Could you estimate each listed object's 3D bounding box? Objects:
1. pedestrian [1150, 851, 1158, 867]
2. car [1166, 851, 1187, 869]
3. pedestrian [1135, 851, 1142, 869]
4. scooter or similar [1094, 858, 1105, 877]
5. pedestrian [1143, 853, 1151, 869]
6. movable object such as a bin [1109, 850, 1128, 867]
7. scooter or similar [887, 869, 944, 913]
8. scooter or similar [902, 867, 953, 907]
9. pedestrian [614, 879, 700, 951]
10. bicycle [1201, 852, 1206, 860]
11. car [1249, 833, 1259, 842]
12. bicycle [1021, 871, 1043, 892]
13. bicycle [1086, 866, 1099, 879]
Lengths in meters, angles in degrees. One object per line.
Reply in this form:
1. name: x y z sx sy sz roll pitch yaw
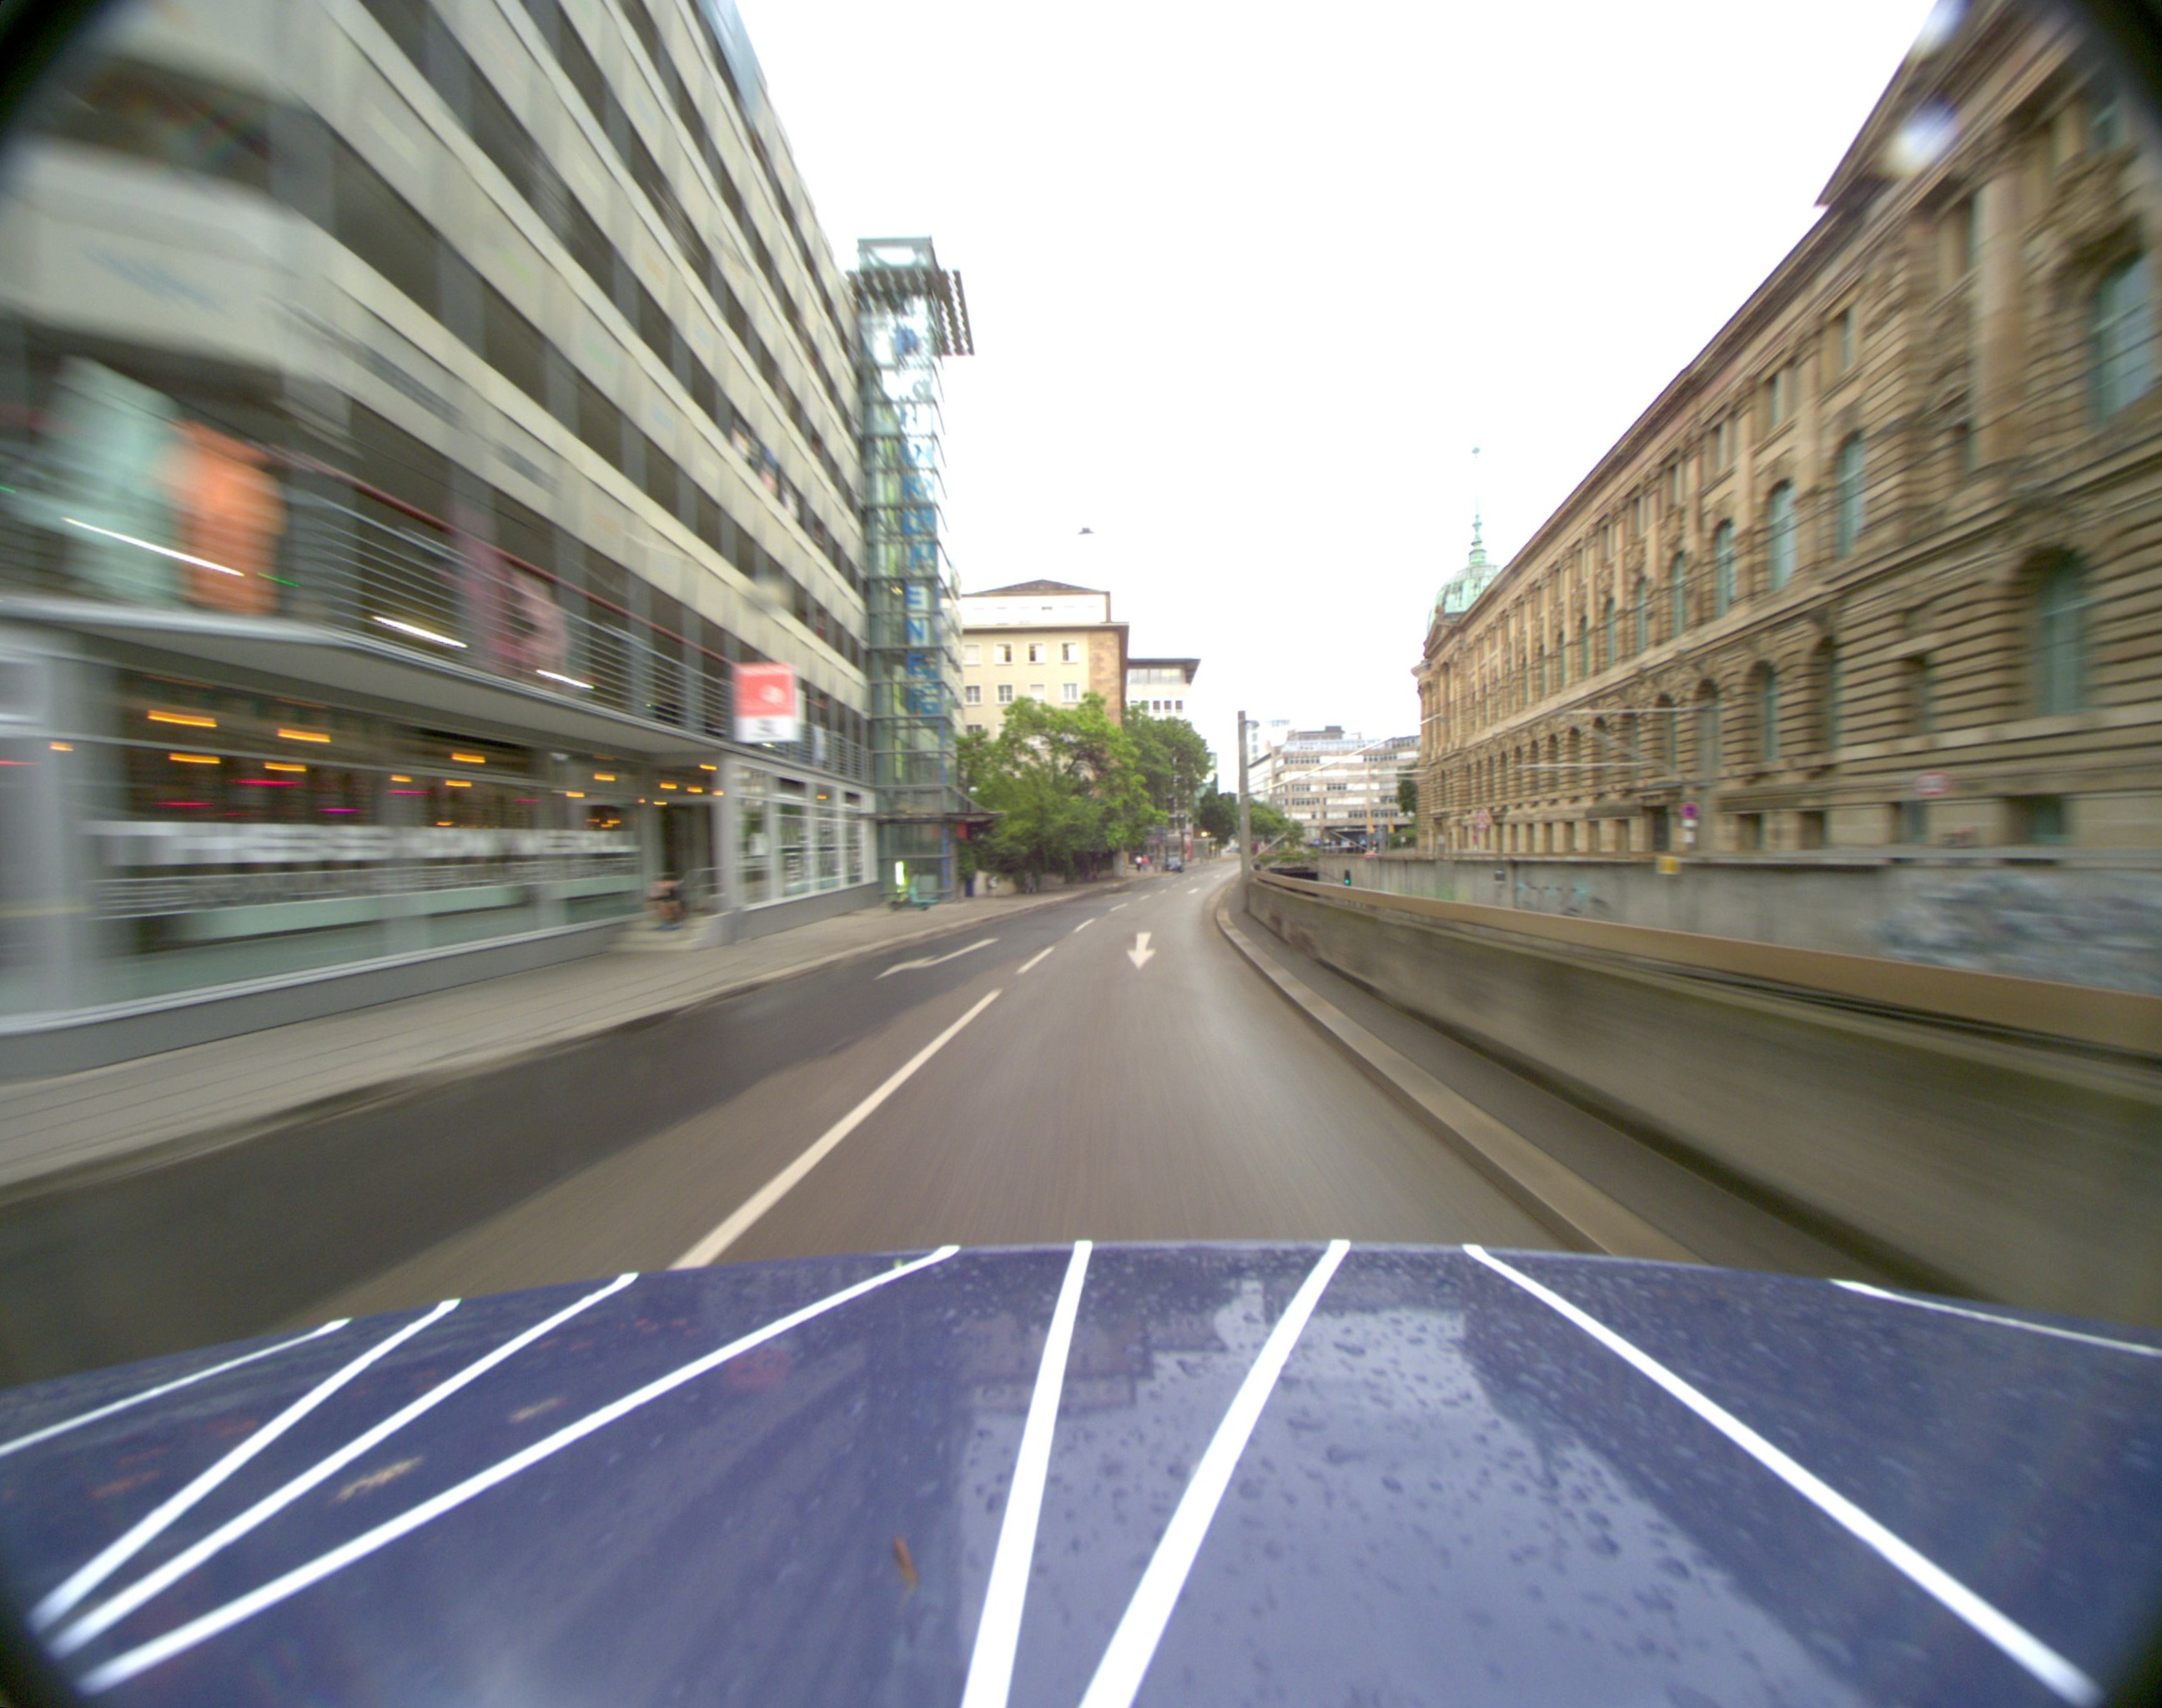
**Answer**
1. pedestrian: 8.271 0.525 85.796 0.781 1.761 0.863 -1 1 8
2. car: 9.444 0.556 75.006 1.771 1.610 4.160 -2 1 11
3. pedestrian: 5.118 0.549 67.780 0.525 1.593 0.674 -2 1 9
4. scooter or similar: 1.215 0.867 49.101 0.447 1.252 1.212 0 1 14
5. pedestrian: 5.917 0.624 68.124 0.526 1.483 0.673 -2 1 -3
6. movable object such as a bin: 2.844 0.335 57.964 1.241 1.303 1.235 1 1 14
7. scooter or similar: -5.011 1.112 23.031 1.641 1.260 0.742 0 0 -11
8. scooter or similar: -5.067 1.078 25.109 1.641 1.260 0.742 0 0 -11
9. pedestrian: -7.373 1.039 13.267 0.755 1.116 1.247 -3 0 -1
10. bicycle: 16.625 0.223 103.249 0.490 1.006 1.929 -2 1 11
11. car: 42.875 -4.136 188.070 1.997 2.068 4.002 -2 1 9
12. bicycle: -2.241 1.239 34.805 0.470 0.880 1.691 -1 1 14
13. bicycle: 0.707 1.118 47.089 0.501 0.750 1.212 2 1 13
